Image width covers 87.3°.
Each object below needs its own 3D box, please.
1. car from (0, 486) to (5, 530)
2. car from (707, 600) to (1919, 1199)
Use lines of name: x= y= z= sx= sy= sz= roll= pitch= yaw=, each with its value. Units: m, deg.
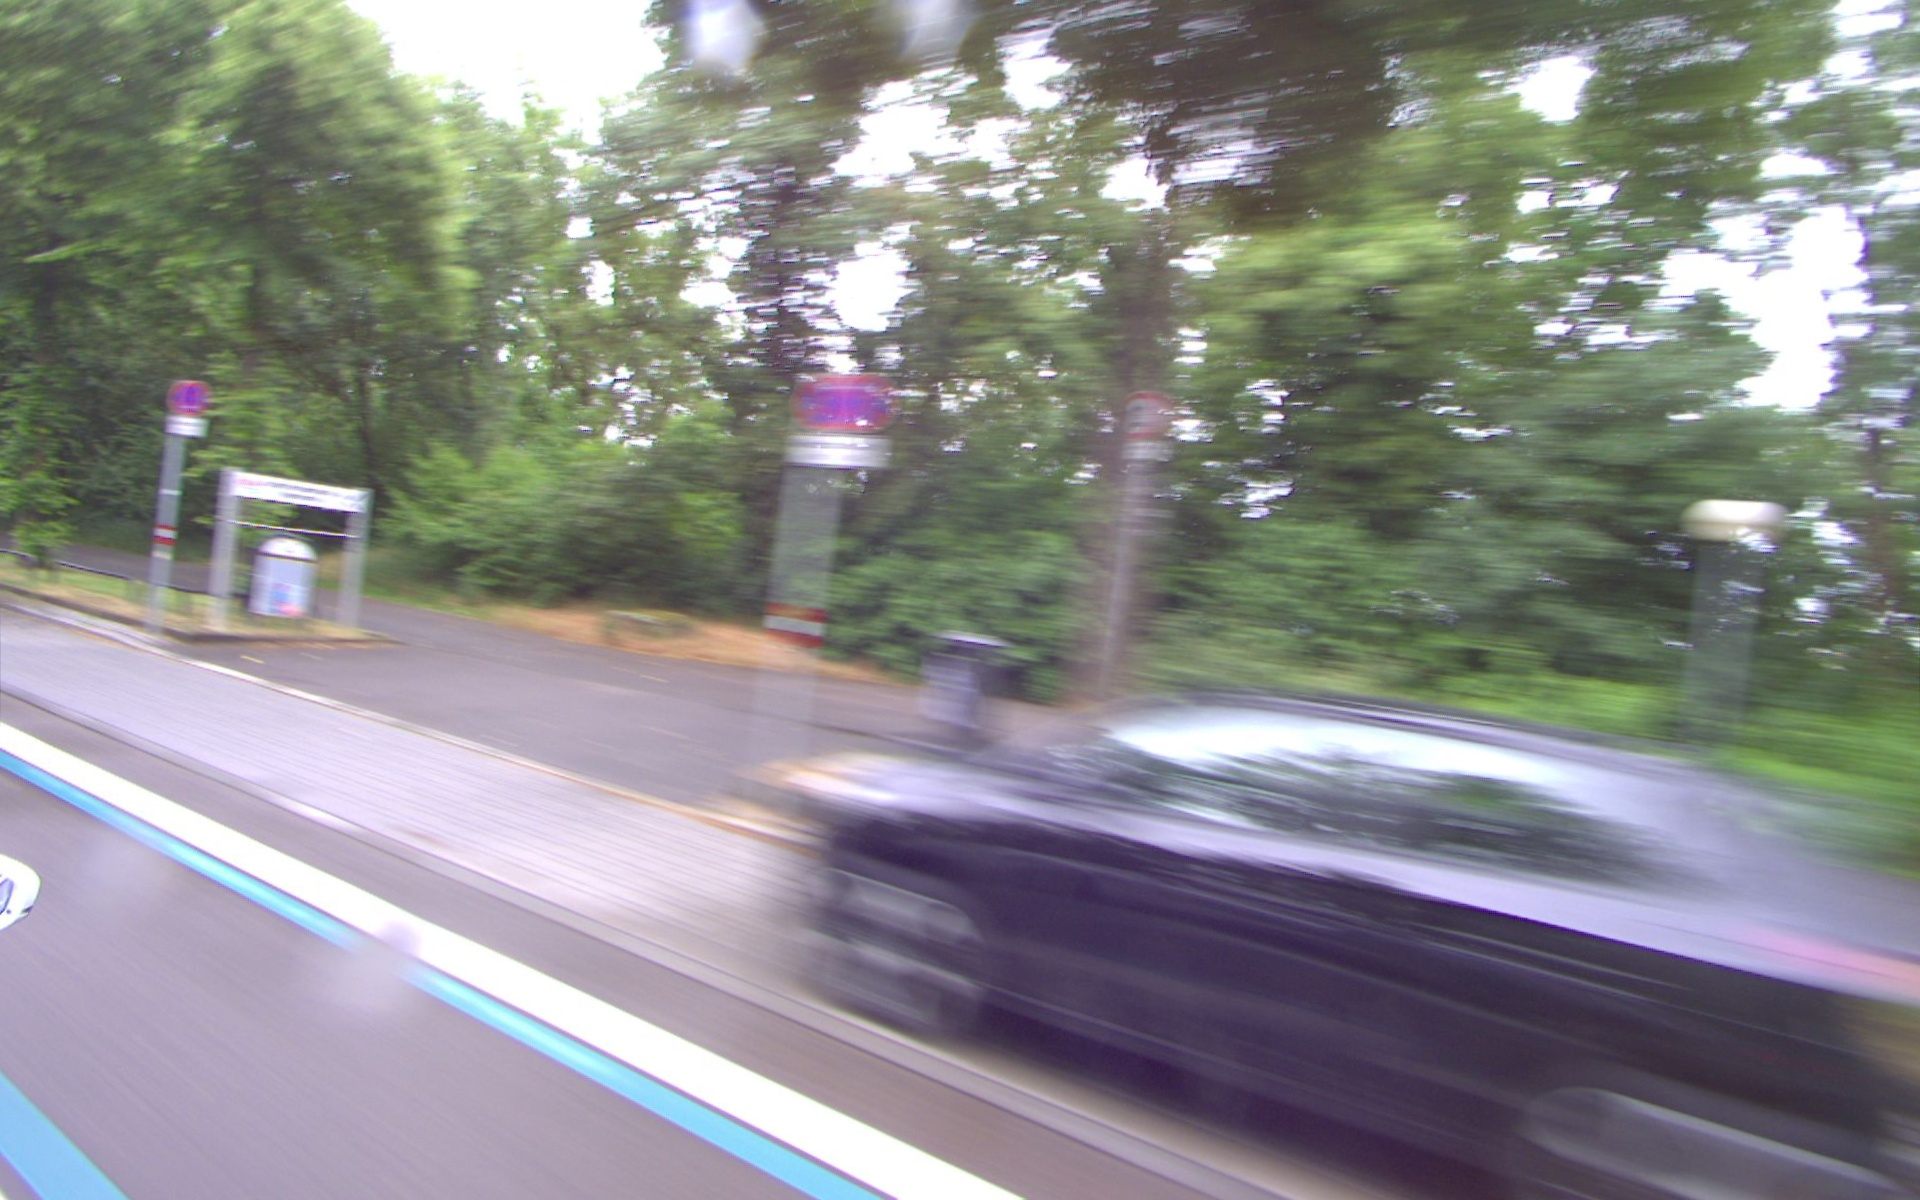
car: x=-15.404 y=-1.000 z=13.918 sx=4.487 sy=1.682 sz=1.997 roll=7 pitch=-1 yaw=32
car: x=1.158 y=1.012 z=3.868 sx=3.930 sy=1.494 sz=1.699 roll=7 pitch=0 yaw=30
